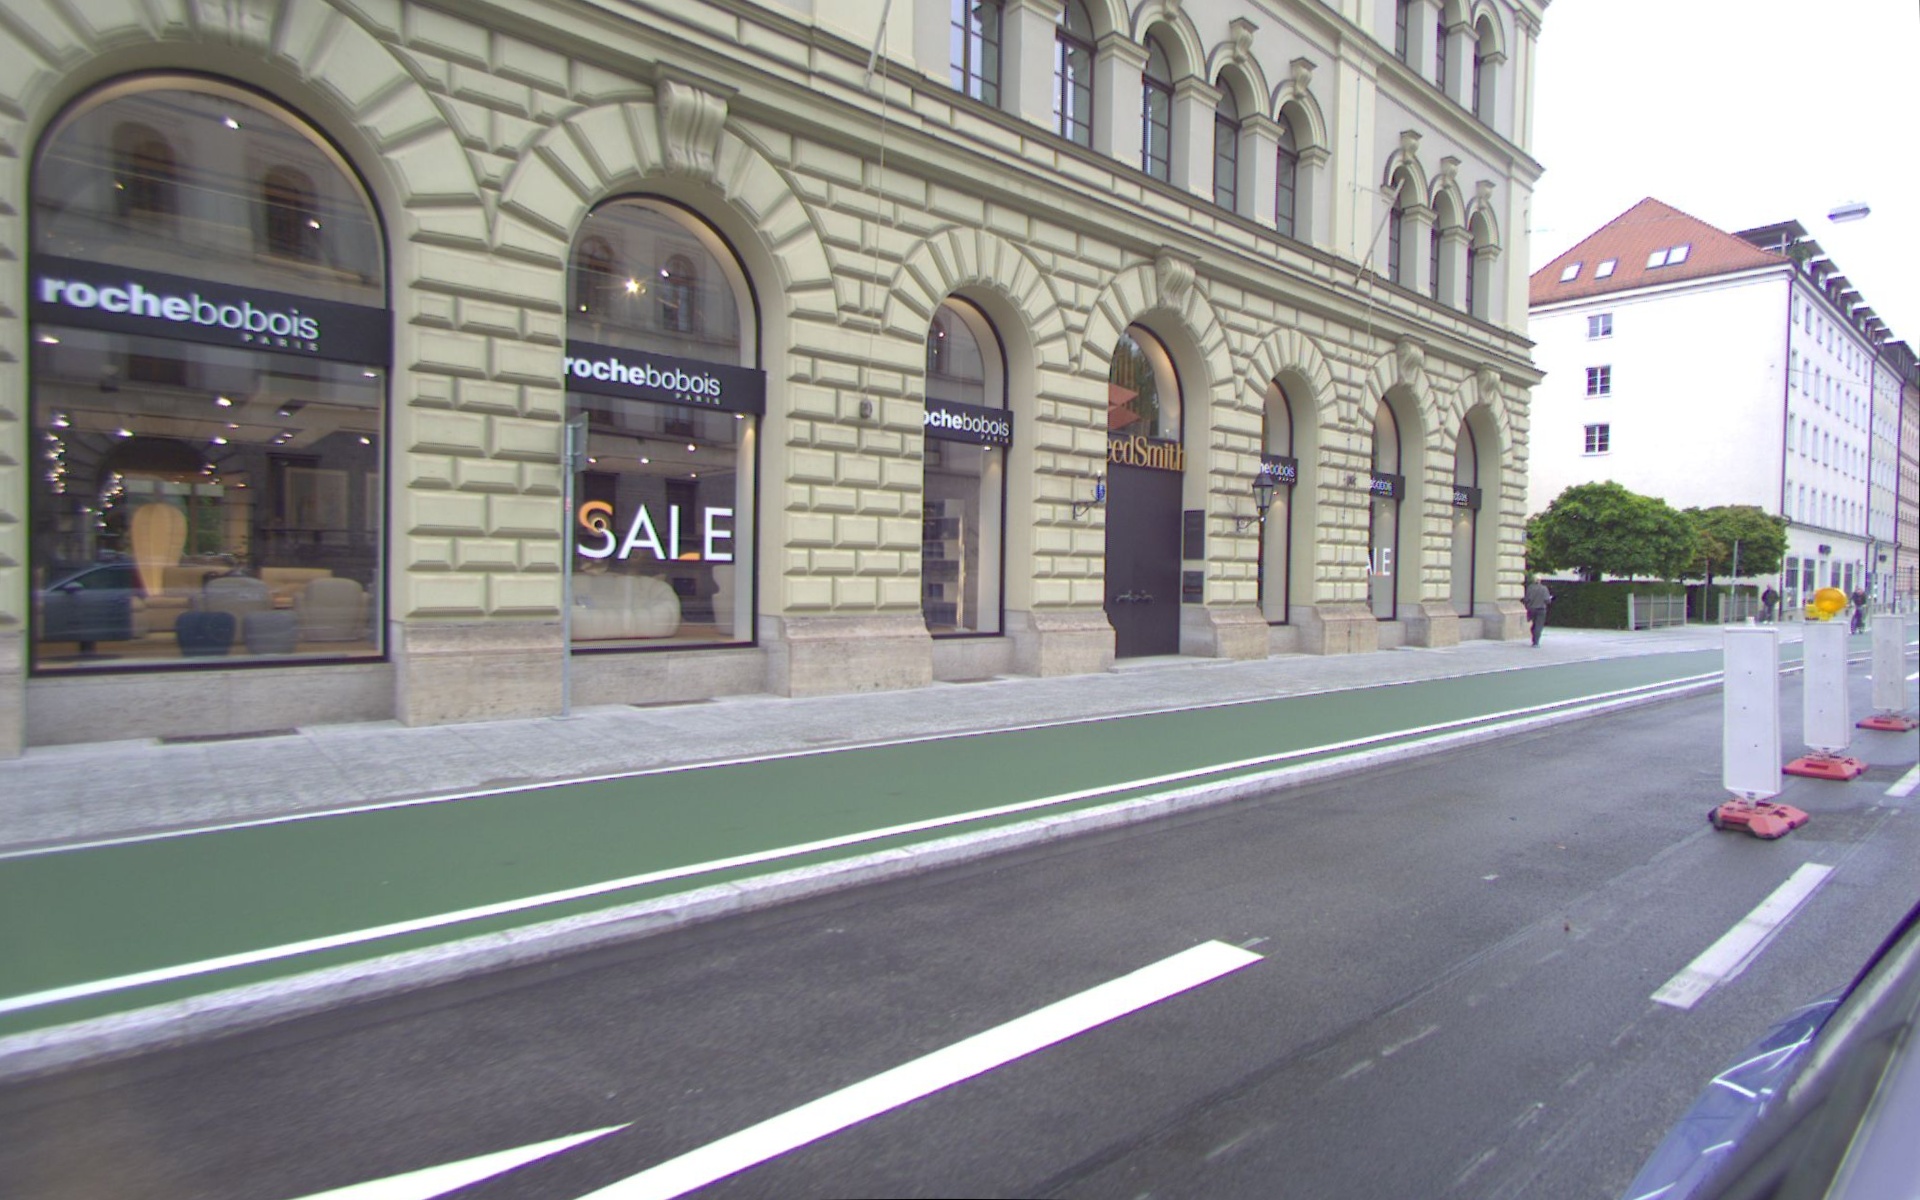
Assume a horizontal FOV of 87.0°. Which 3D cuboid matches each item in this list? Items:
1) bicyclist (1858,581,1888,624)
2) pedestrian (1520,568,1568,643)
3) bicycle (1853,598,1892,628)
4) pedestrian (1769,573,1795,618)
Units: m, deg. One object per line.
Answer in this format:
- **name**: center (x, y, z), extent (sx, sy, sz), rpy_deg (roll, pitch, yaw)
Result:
- **bicyclist**: center (33.423, 0.089, 37.045), extent (0.843, 1.572, 0.723), rpy_deg (0, 0, -41)
- **pedestrian**: center (14.006, 0.119, 24.265), extent (1.067, 1.725, 0.633), rpy_deg (0, 2, -41)
- **bicycle**: center (33.380, 0.468, 37.010), extent (2.487, 1.045, 0.750), rpy_deg (0, 0, -41)
- **pedestrian**: center (35.252, -0.187, 43.379), extent (0.811, 1.897, 0.655), rpy_deg (0, 3, -41)
